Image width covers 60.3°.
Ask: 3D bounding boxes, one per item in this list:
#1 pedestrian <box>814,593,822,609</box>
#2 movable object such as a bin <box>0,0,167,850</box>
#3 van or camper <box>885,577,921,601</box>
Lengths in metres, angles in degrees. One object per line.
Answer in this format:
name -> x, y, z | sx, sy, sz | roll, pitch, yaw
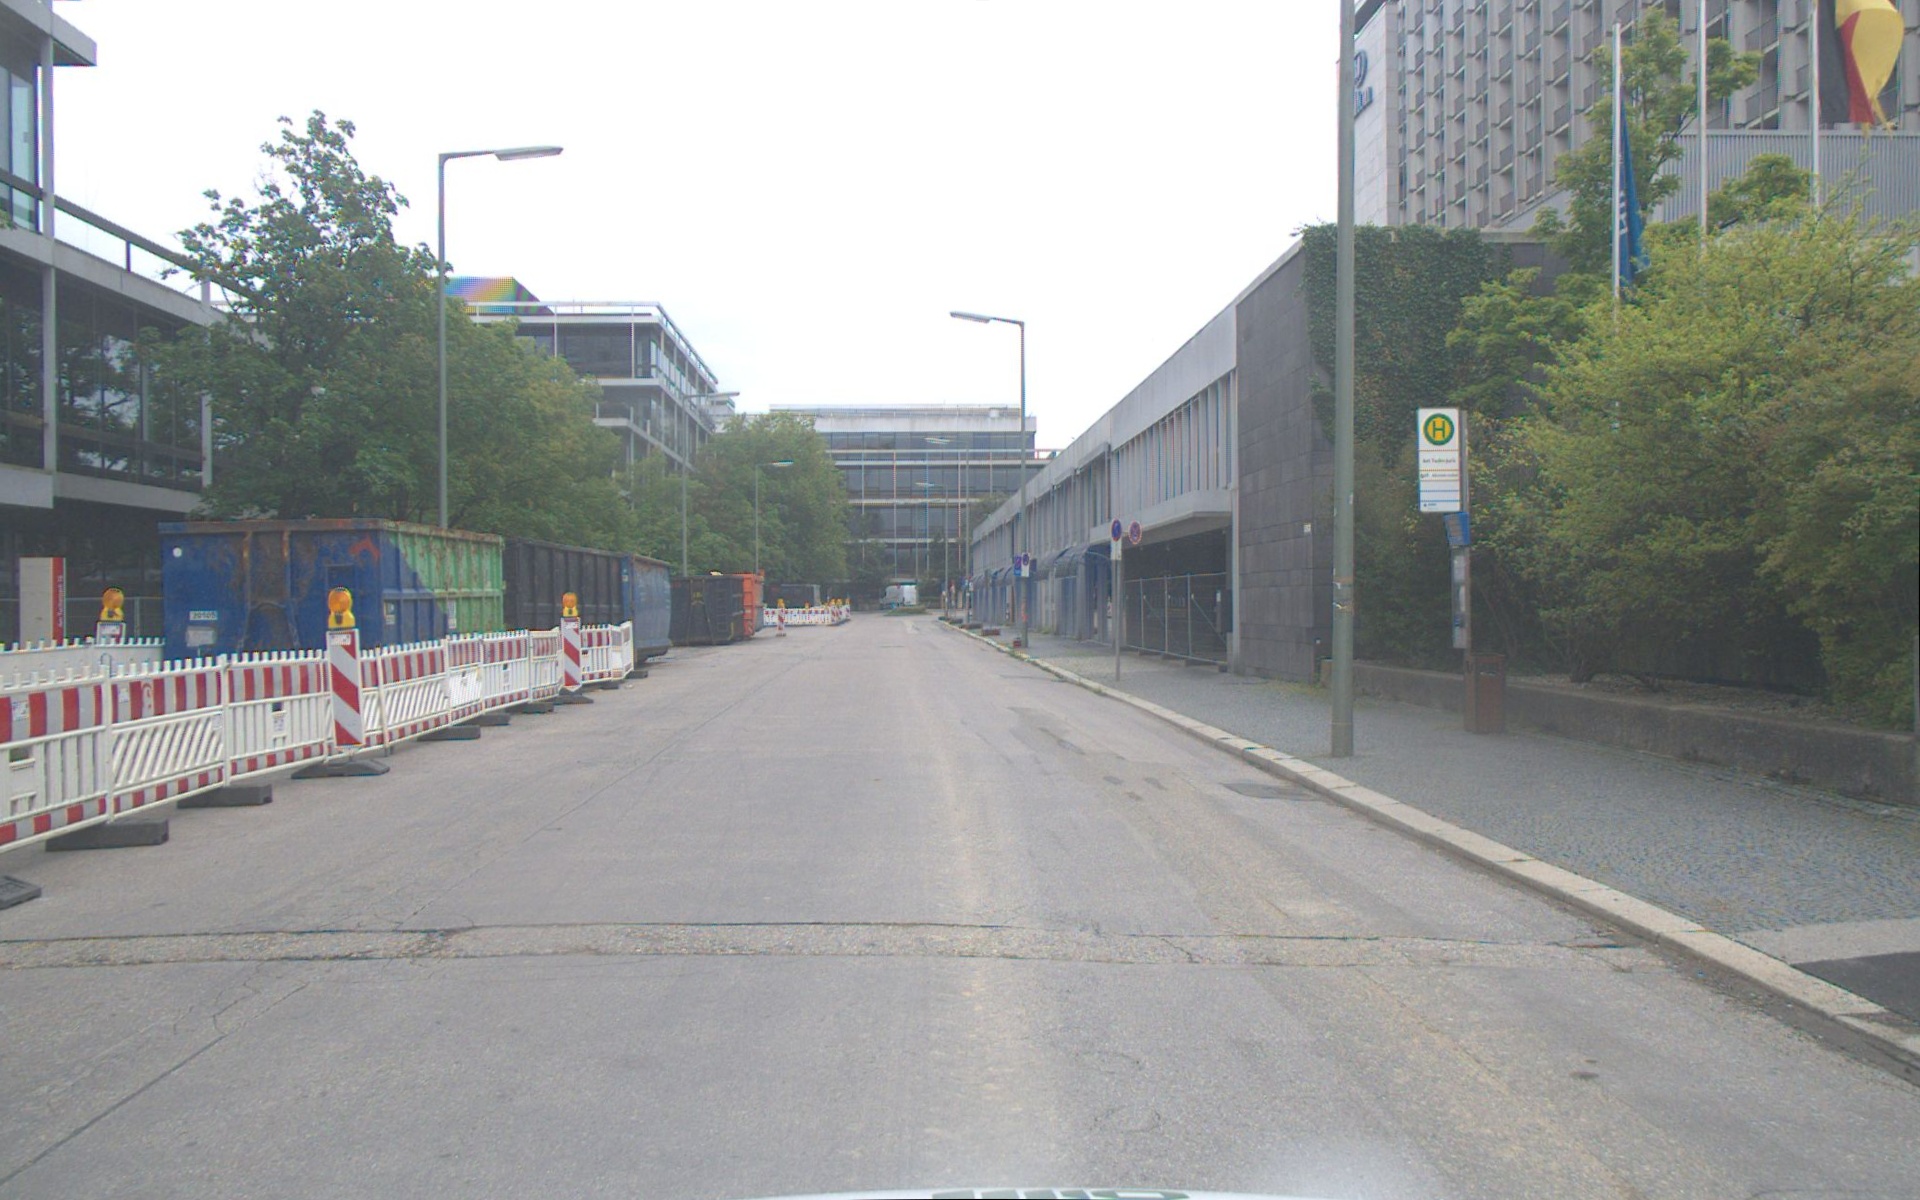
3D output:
pedestrian -> -15.336, 0.146, 178.935 | 0.731, 1.706, 0.677 | 0, 0, -22
movable object such as a bin -> -7.319, -1.777, 6.868 | 2.846, 6.679, 11.777 | -1, 0, -3
van or camper -> -6.240, -1.195, 180.330 | 2.061, 2.535, 5.021 | 0, 0, -28
